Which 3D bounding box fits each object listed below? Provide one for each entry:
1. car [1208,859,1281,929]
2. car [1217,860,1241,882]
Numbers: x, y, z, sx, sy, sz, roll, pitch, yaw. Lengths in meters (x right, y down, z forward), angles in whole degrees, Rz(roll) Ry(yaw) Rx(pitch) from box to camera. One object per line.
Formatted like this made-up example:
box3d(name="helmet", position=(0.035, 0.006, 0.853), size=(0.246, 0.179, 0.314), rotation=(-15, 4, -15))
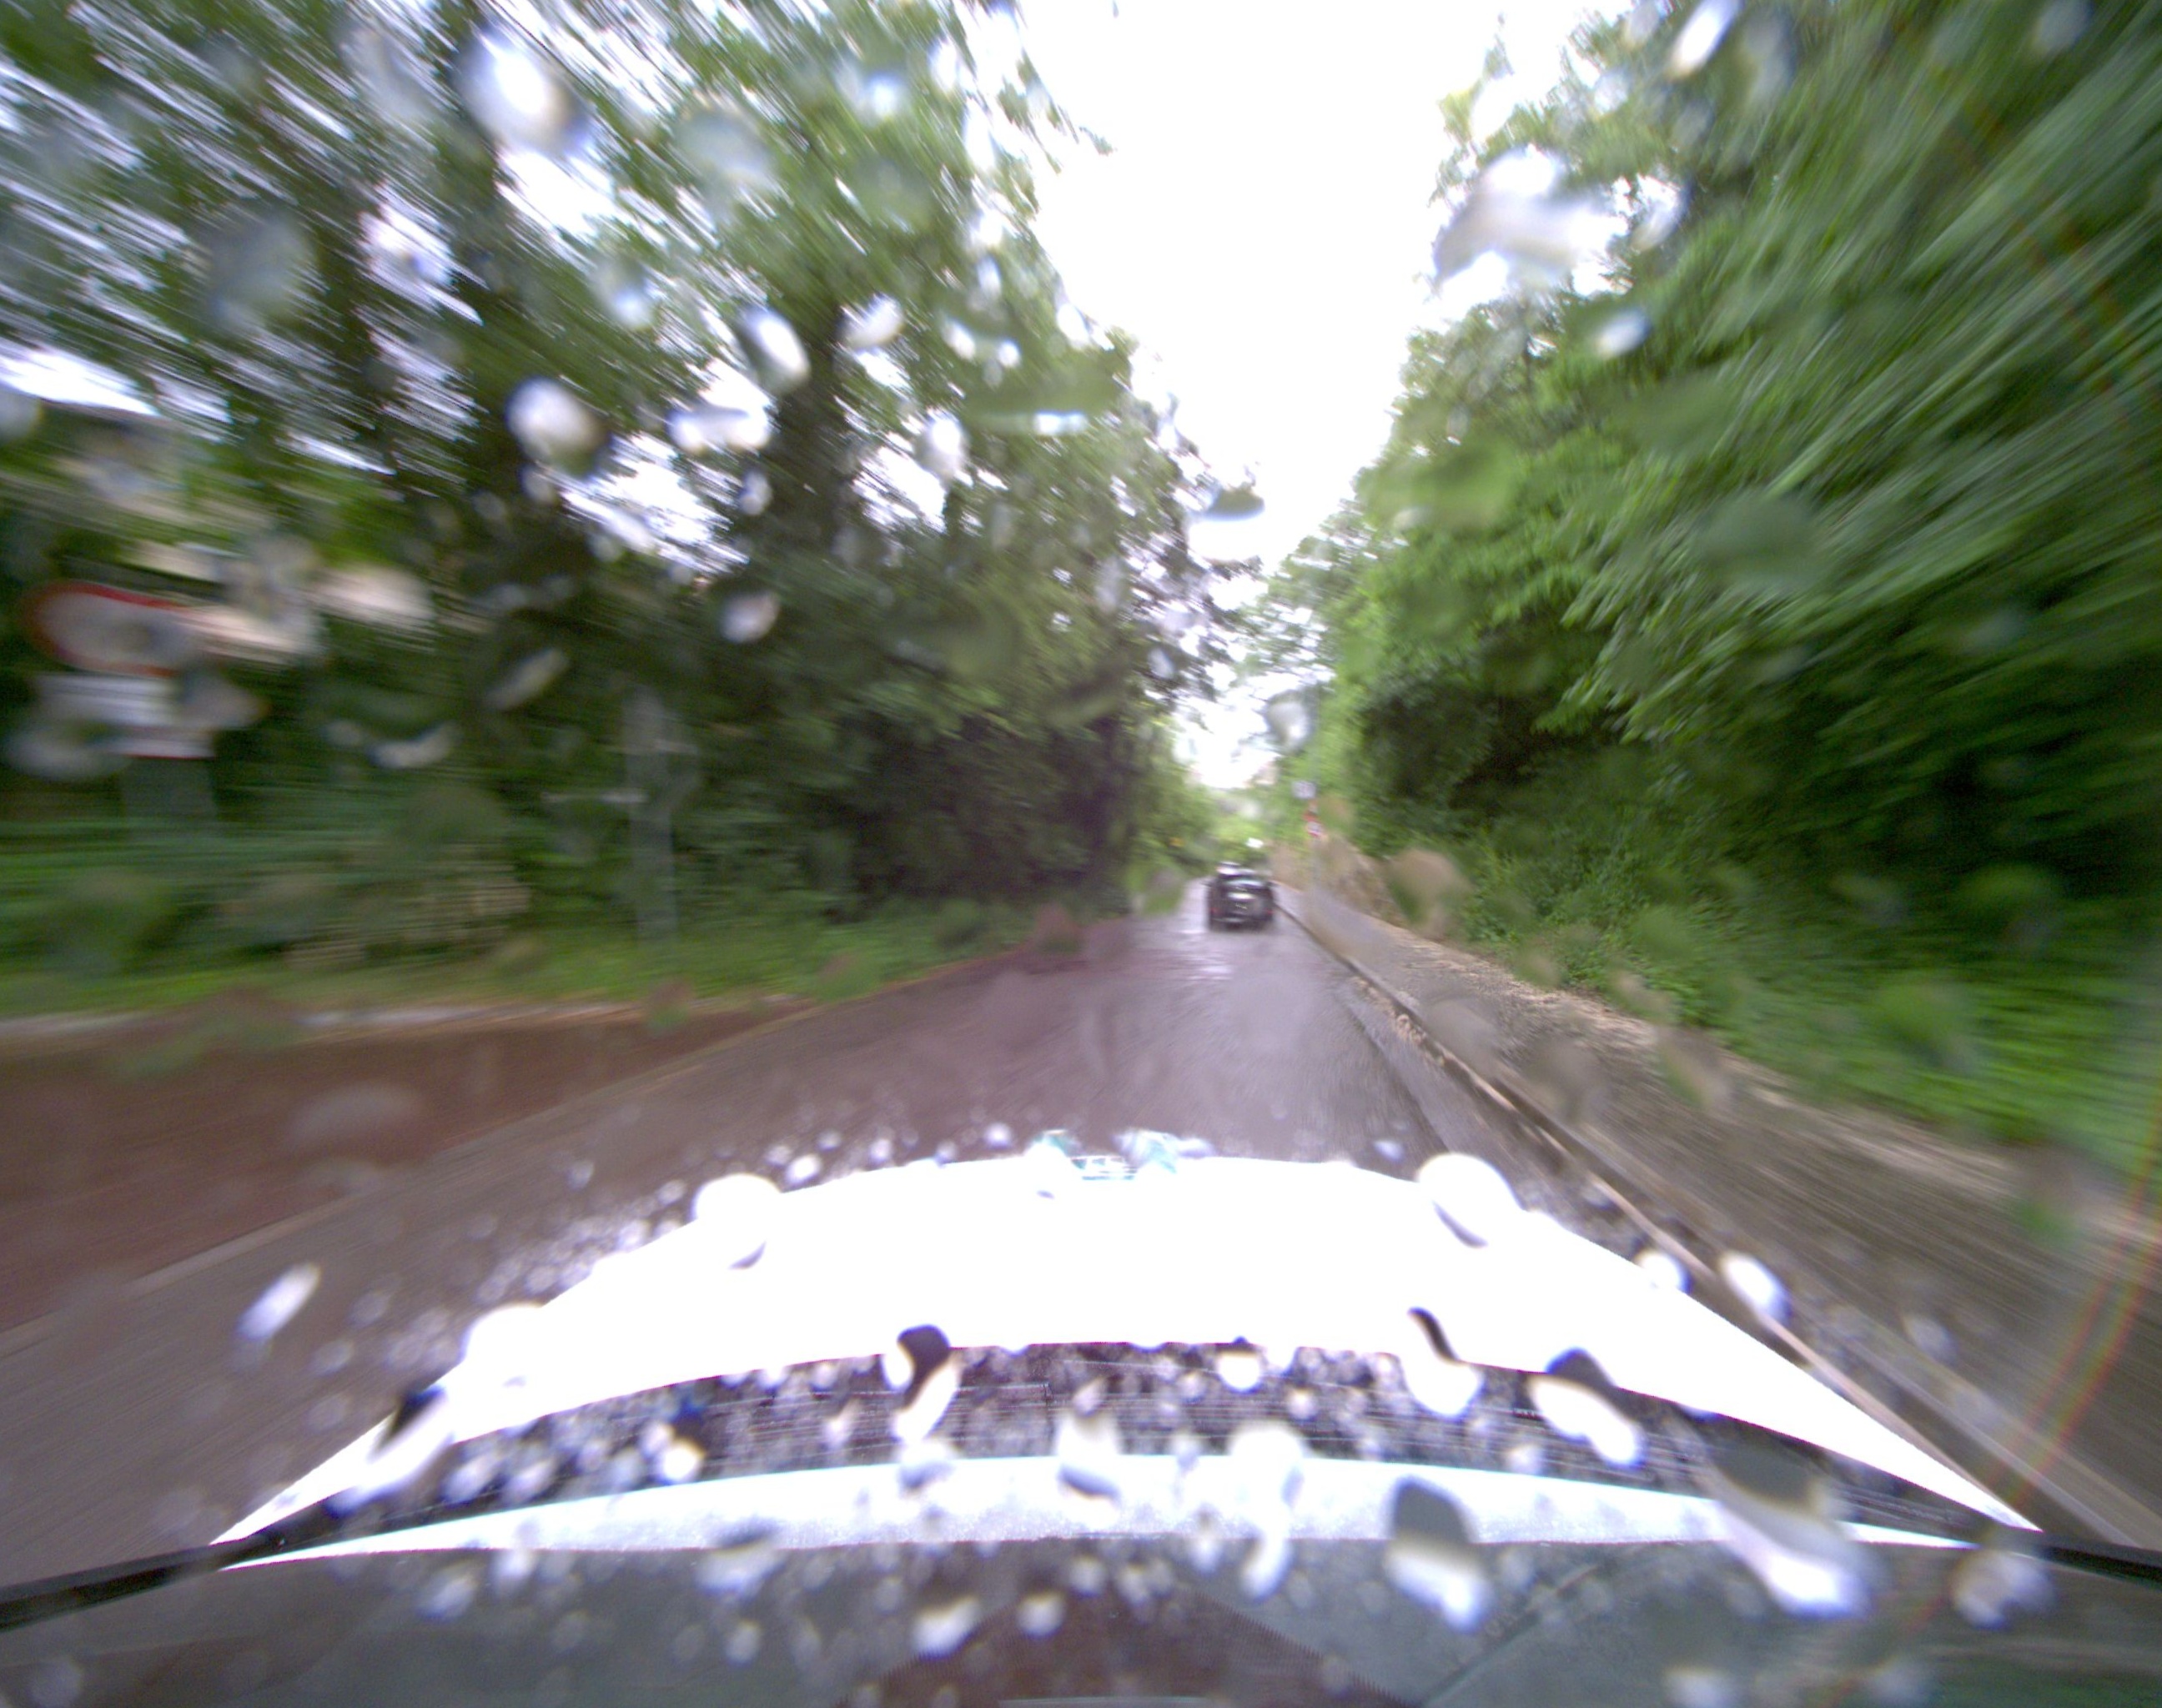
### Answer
box3d(name="car", position=(4.213, 0.970, 21.443), size=(1.689, 1.450, 4.011), rotation=(-1, 3, 9))
box3d(name="car", position=(12.403, 1.376, 68.214), size=(1.851, 1.743, 4.011), rotation=(1, -1, 10))
